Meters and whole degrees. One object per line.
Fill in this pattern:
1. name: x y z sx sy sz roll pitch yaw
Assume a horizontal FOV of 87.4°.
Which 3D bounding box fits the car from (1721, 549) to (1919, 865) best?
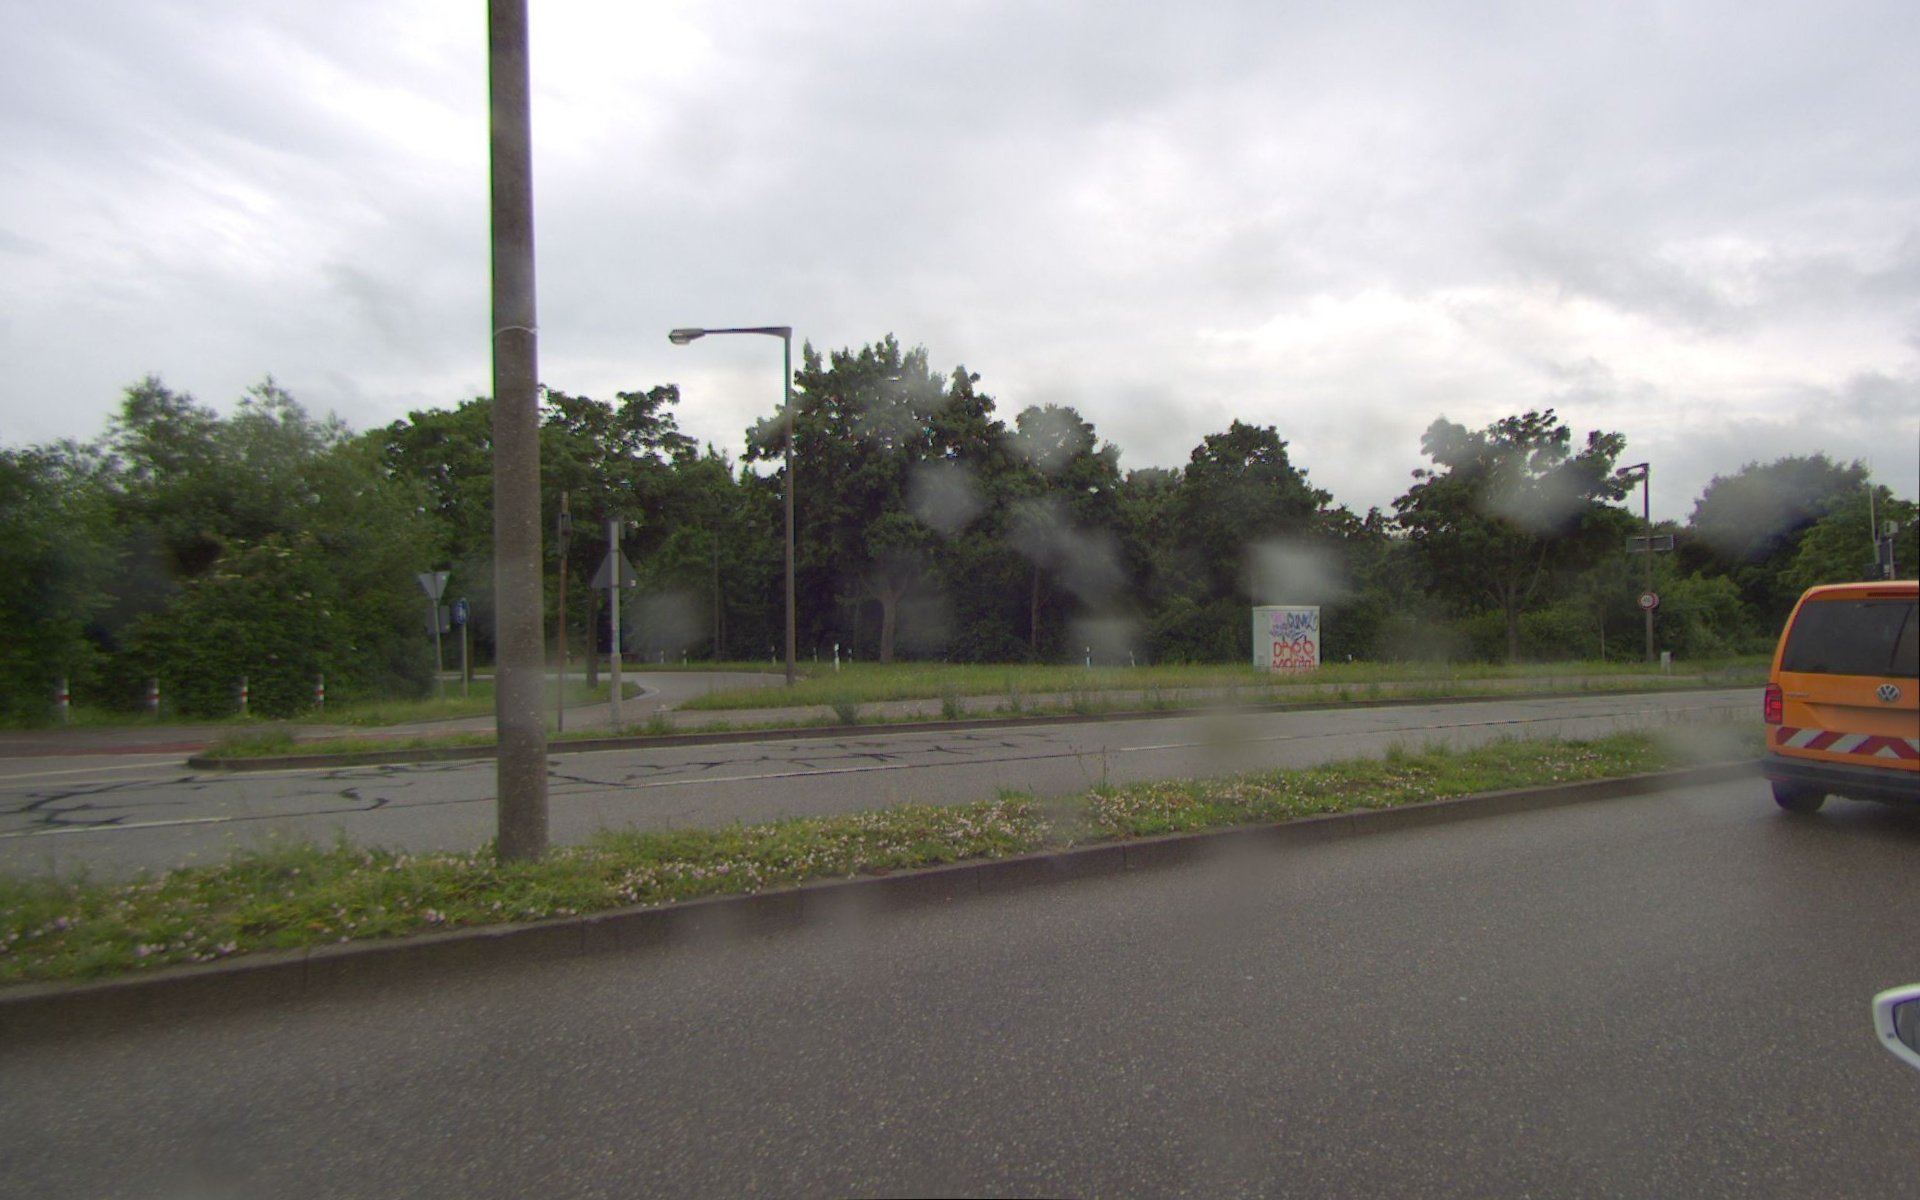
1. car: 8.175 0.745 7.955 4.793 2.046 1.726 2 0 -31
